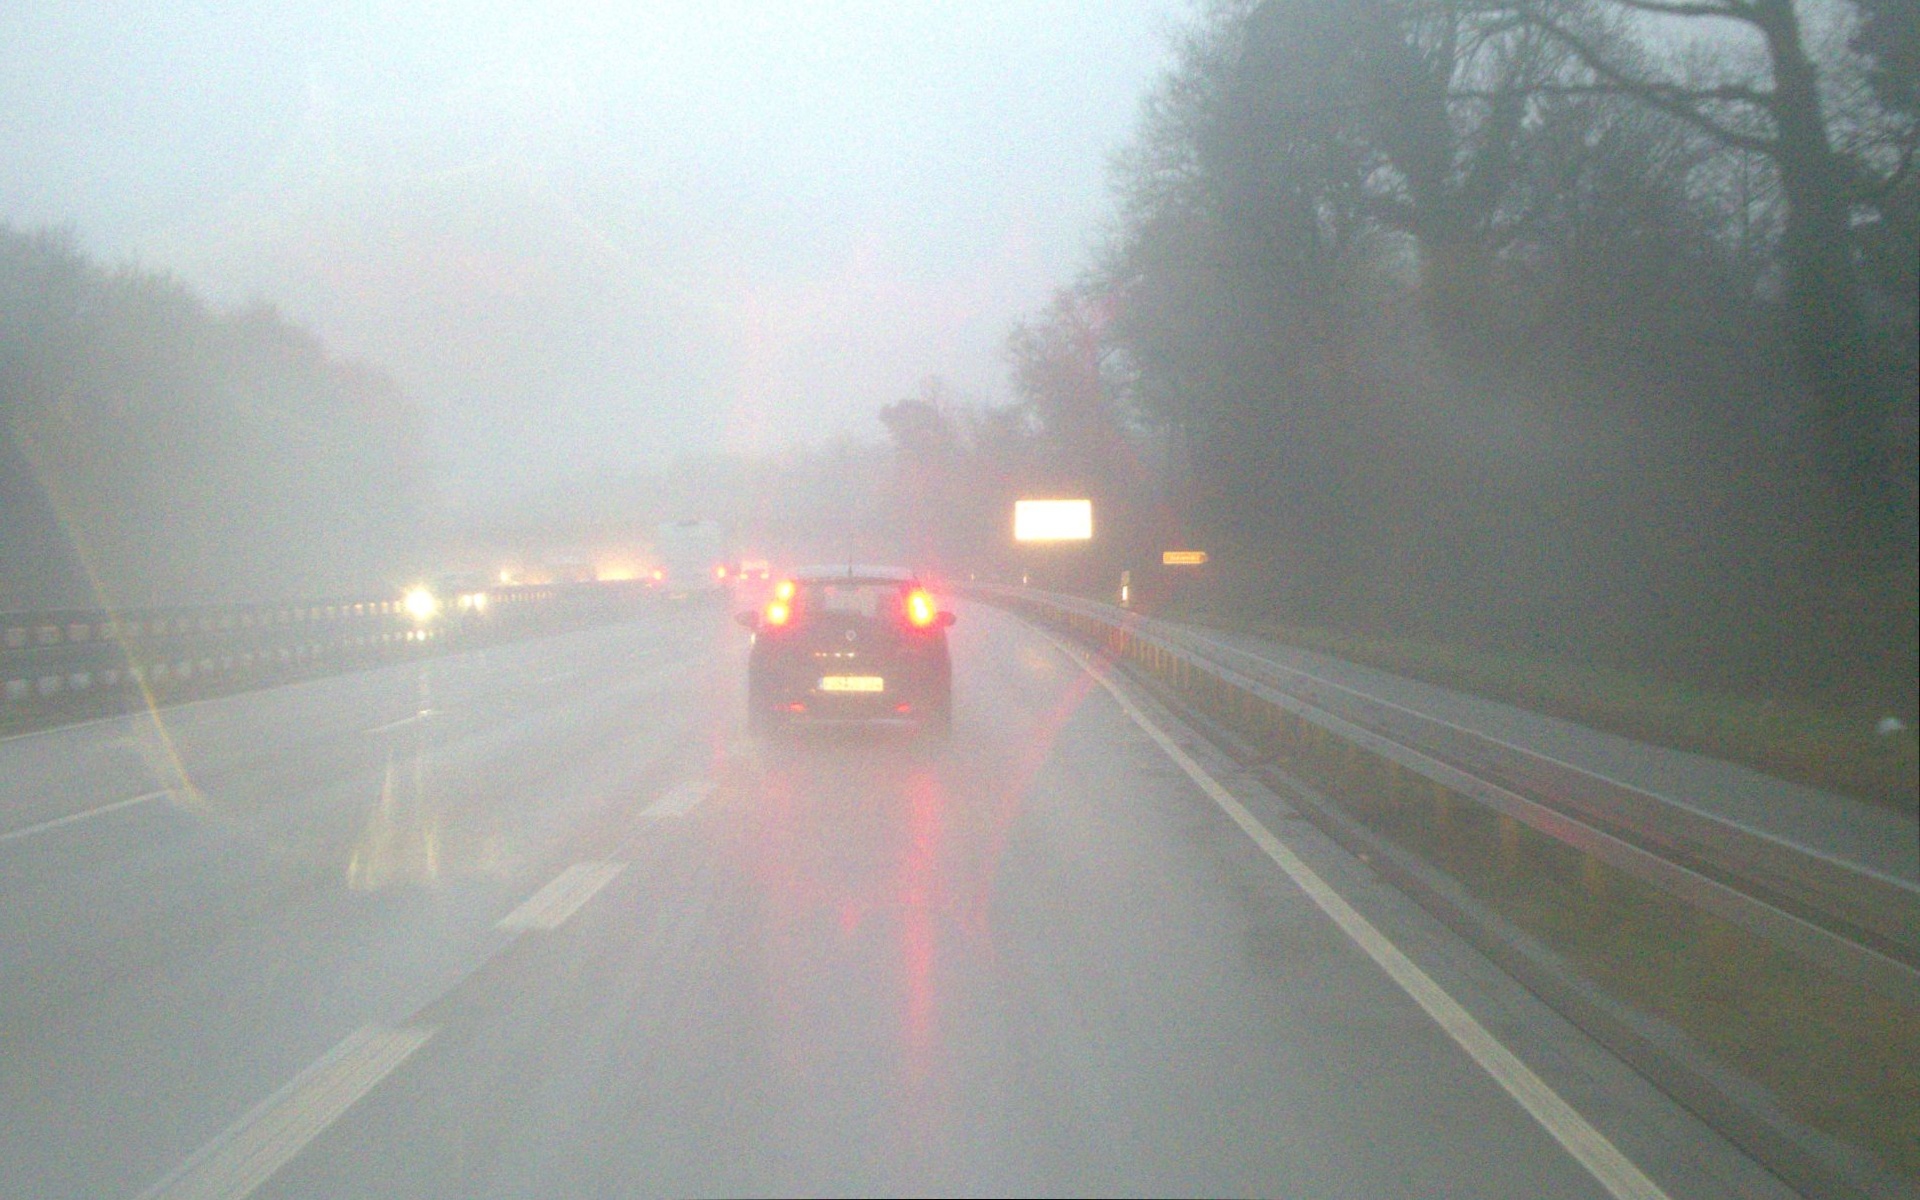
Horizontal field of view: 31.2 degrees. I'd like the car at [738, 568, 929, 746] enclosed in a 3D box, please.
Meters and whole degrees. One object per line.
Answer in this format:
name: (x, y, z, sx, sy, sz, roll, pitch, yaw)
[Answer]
car: (-1.115, 0.449, 29.815, 1.527, 1.411, 3.479, 1, 1, -3)
